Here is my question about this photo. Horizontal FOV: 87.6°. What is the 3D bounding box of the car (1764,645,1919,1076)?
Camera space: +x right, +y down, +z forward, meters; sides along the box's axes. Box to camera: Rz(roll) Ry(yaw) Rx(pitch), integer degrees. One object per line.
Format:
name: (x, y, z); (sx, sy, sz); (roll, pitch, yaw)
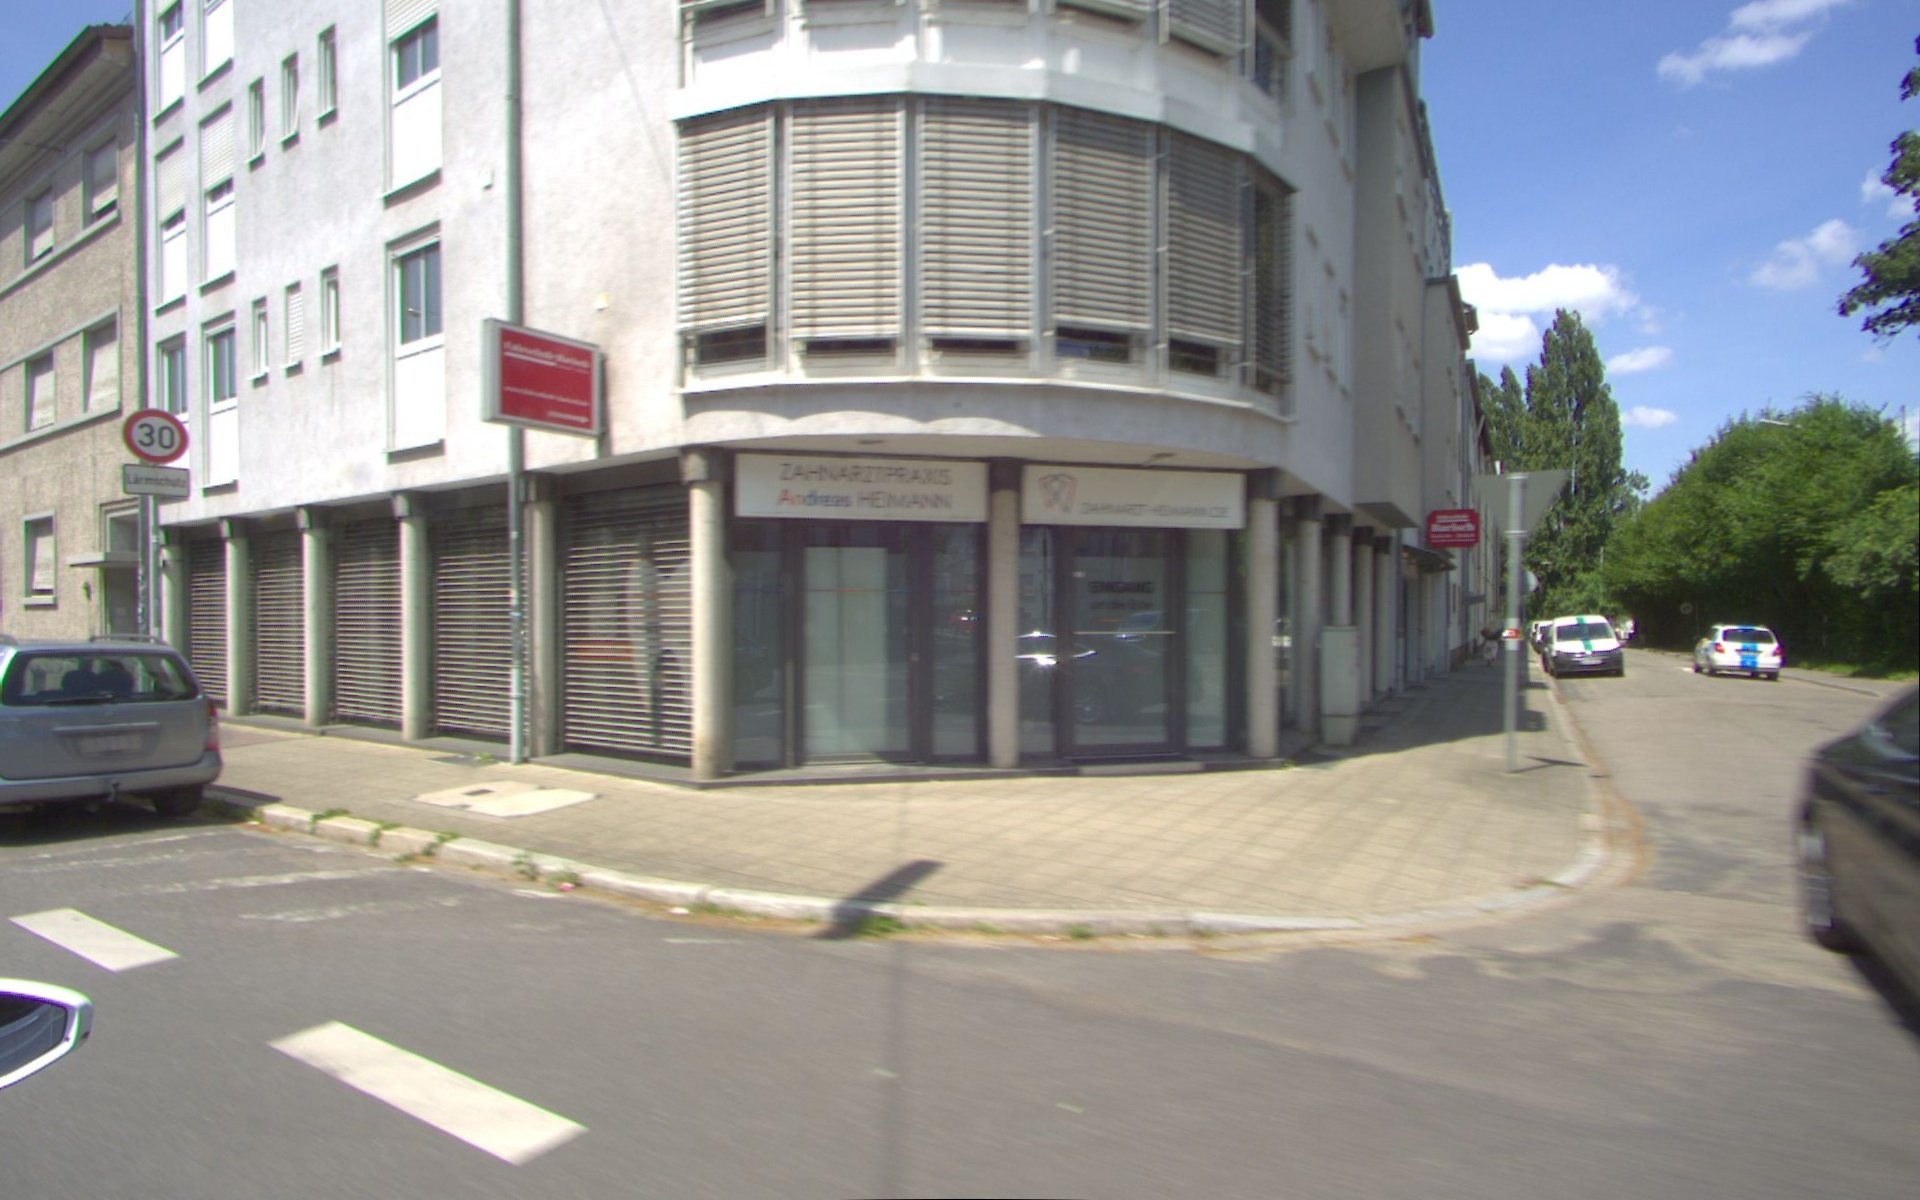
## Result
car: (4.258, 0.882, 3.215); (1.971, 1.383, 4.575); (0, -2, 31)

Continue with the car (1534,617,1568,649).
car: (33.104, 1.834, 56.153); (1.559, 1.683, 3.713); (-1, -1, 29)

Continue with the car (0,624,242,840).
car: (-7.994, 0.949, 8.456); (4.082, 1.473, 1.675); (-1, -2, 32)

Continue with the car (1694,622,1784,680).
car: (22.798, 1.447, 29.421); (1.547, 1.574, 3.982); (-1, -2, 30)

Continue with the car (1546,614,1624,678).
car: (18.839, 1.385, 30.329); (1.603, 1.756, 4.368); (-3, -3, 28)
